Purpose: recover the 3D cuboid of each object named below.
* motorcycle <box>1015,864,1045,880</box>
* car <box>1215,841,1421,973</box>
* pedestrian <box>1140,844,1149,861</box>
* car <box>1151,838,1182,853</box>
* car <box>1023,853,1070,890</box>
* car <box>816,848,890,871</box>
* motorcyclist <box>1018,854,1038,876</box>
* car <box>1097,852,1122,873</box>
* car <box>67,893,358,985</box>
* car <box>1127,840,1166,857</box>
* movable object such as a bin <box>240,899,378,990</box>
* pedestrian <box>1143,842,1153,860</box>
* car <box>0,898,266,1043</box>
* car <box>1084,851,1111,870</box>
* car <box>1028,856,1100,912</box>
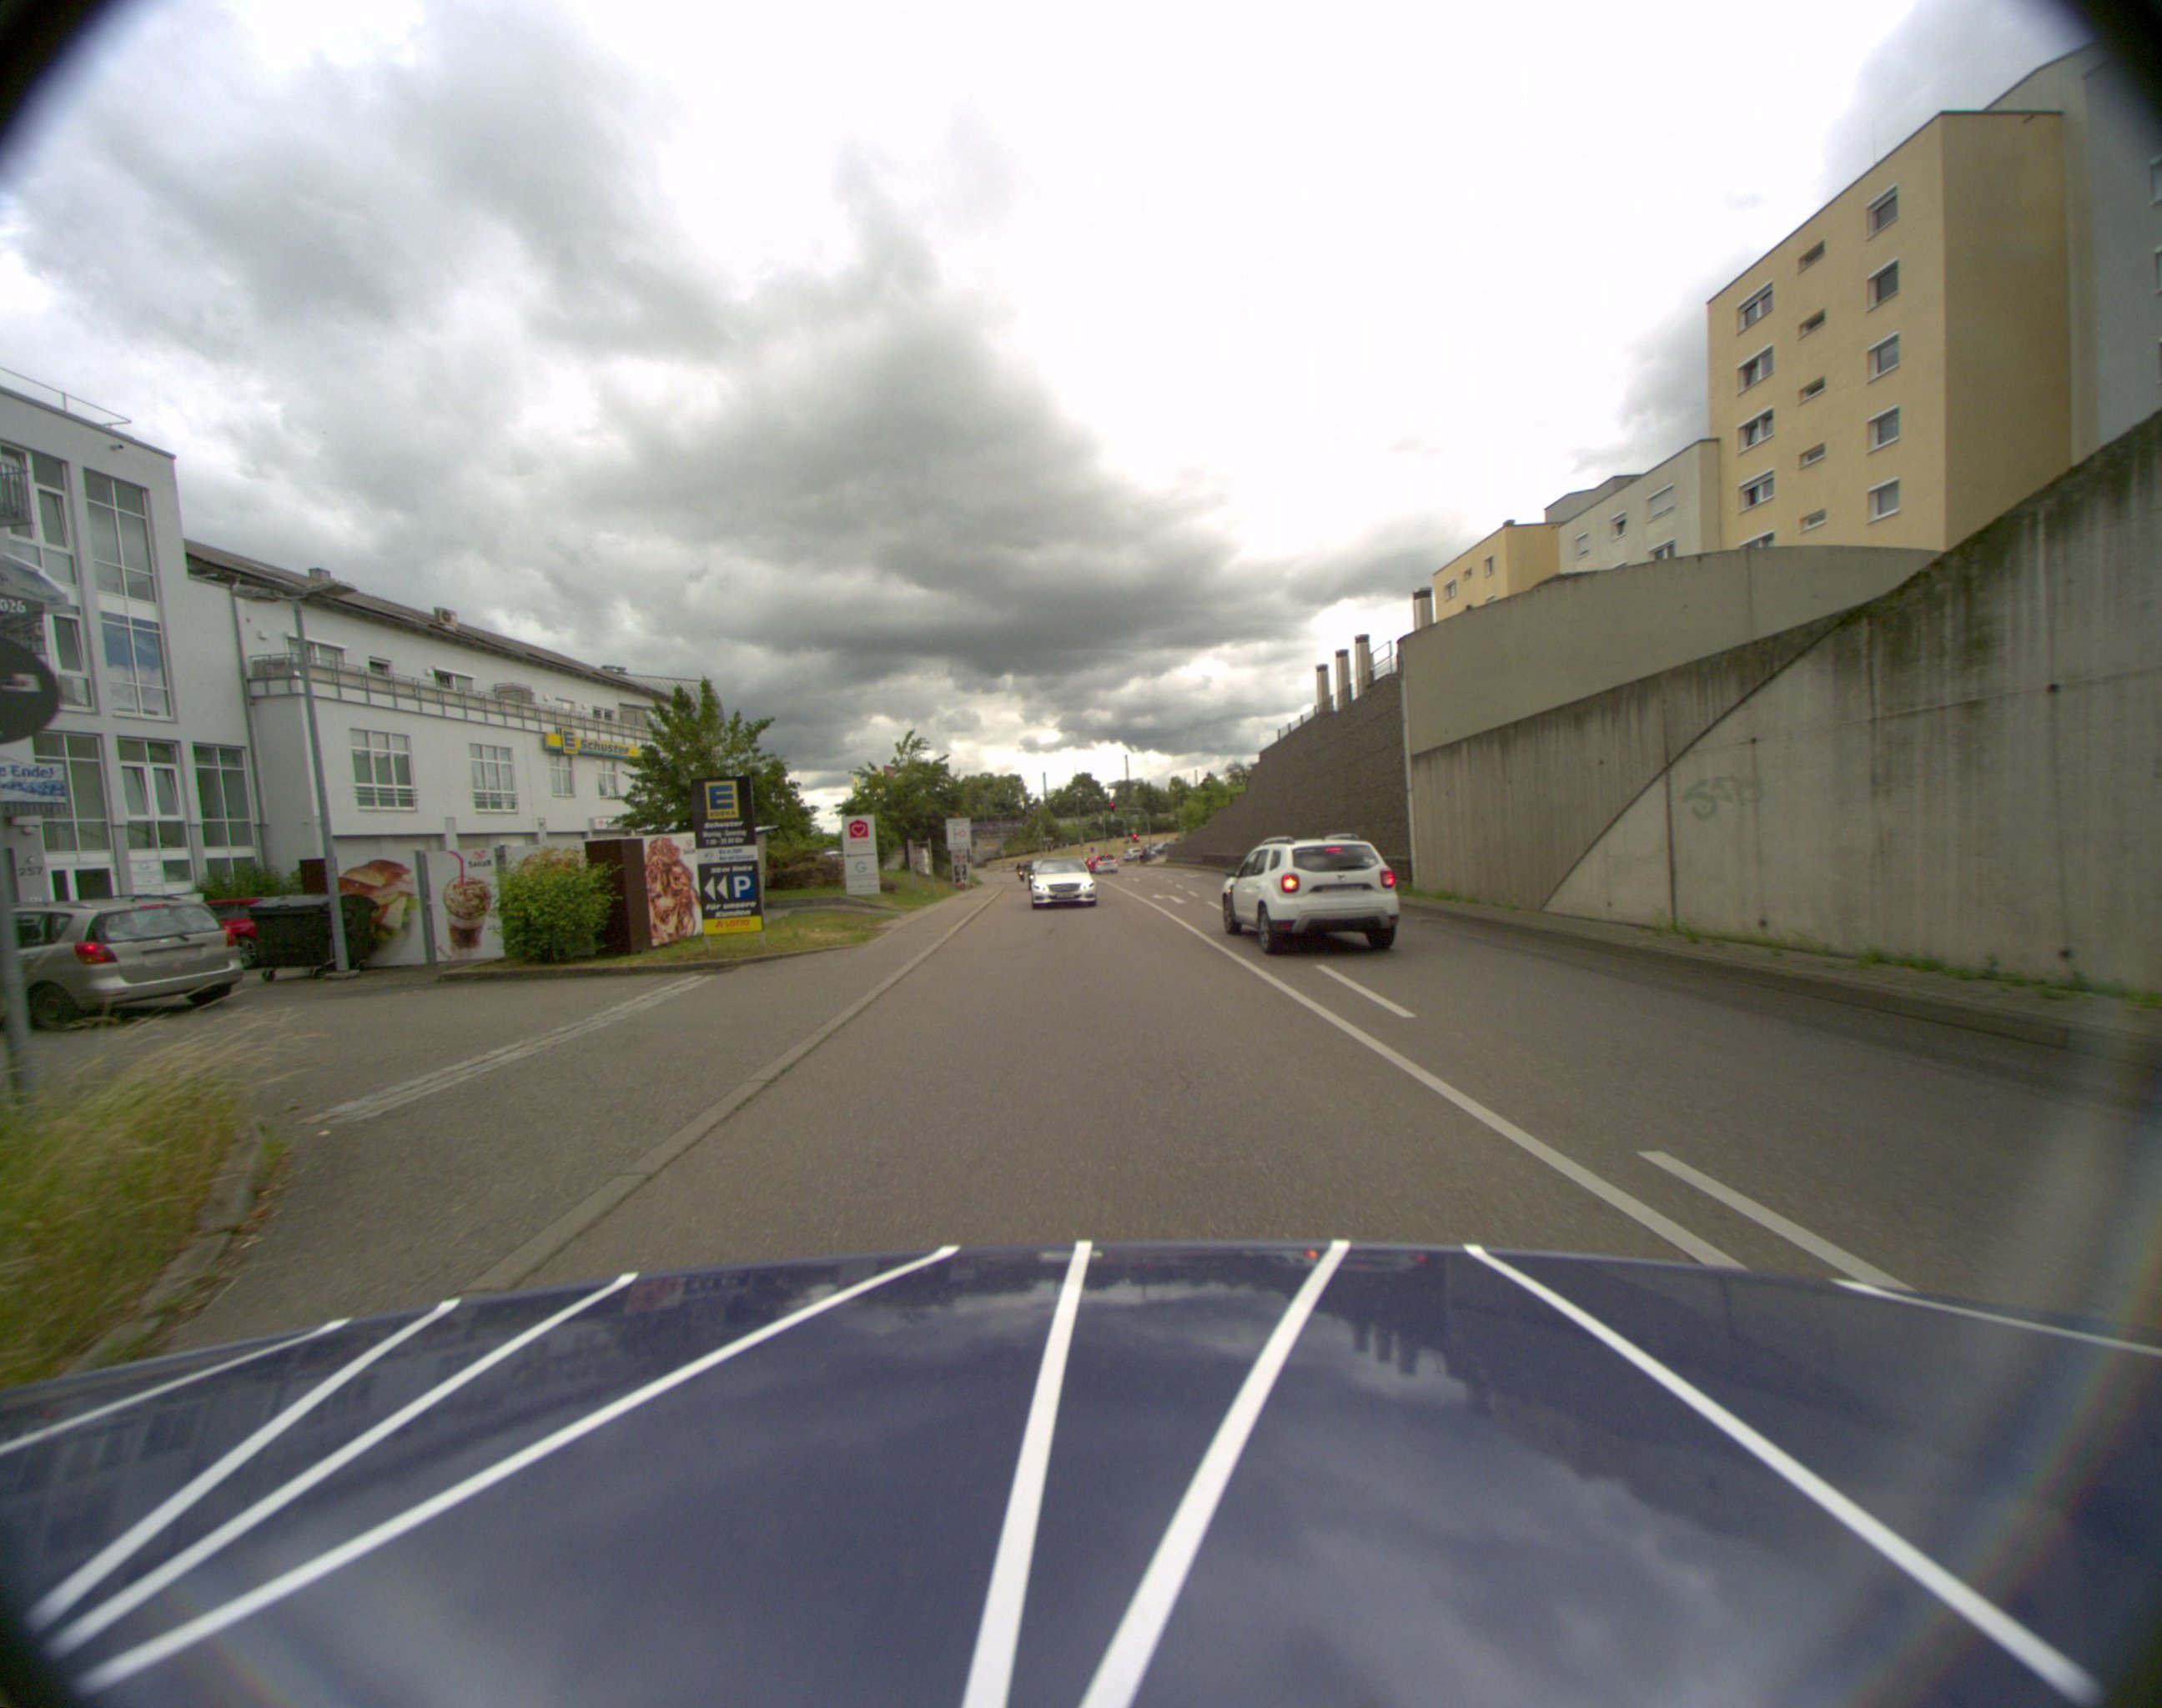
[{"bbox_3d":[-4.206,1.467,62.789,2.364,1.098,0.881,-7,2,-41],"label":"motorcycle"},{"bbox_3d":[3.438,0.677,11.919,1.866,1.622,4.208,-3,0,0],"label":"car"},{"bbox_3d":[6.479,-0.186,77.732,0.665,1.669,0.624,-5,2,9],"label":"pedestrian"},{"bbox_3d":[12.452,-1.293,110.518,4.268,1.719,1.756,-7,2,-37],"label":"car"},{"bbox_3d":[-1.792,0.847,38.238,1.760,1.532,3.996,-6,2,-10],"label":"car"},{"bbox_3d":[-16.317,0.379,54.501,4.708,1.373,1.715,-3,2,0],"label":"car"},{"bbox_3d":[-4.367,0.903,62.678,1.245,1.596,0.881,-7,2,-41],"label":"motorcyclist"},{"bbox_3d":[2.314,0.659,62.359,1.548,1.514,2.913,-6,1,-4],"label":"car"},{"bbox_3d":[-18.152,1.750,15.998,4.250,1.441,1.760,-4,0,5],"label":"car"},{"bbox_3d":[8.314,-0.731,96.961,4.516,1.629,1.828,-6,2,-24],"label":"car"},{"bbox_3d":[-13.354,1.536,13.193,1.248,1.405,1.057,-2,1,1],"label":"movable object such as a bin"},{"bbox_3d":[6.789,-0.294,77.083,0.624,1.817,0.664,-6,2,-19],"label":"pedestrian"},{"bbox_3d":[-14.064,1.544,10.310,4.249,1.584,1.788,-2,2,6],"label":"car"},{"bbox_3d":[1.475,0.579,68.444,1.759,1.515,4.090,-6,1,-7],"label":"car"},{"bbox_3d":[-0.435,0.846,23.313,1.905,1.471,4.095,-2,0,2],"label":"car"}]
